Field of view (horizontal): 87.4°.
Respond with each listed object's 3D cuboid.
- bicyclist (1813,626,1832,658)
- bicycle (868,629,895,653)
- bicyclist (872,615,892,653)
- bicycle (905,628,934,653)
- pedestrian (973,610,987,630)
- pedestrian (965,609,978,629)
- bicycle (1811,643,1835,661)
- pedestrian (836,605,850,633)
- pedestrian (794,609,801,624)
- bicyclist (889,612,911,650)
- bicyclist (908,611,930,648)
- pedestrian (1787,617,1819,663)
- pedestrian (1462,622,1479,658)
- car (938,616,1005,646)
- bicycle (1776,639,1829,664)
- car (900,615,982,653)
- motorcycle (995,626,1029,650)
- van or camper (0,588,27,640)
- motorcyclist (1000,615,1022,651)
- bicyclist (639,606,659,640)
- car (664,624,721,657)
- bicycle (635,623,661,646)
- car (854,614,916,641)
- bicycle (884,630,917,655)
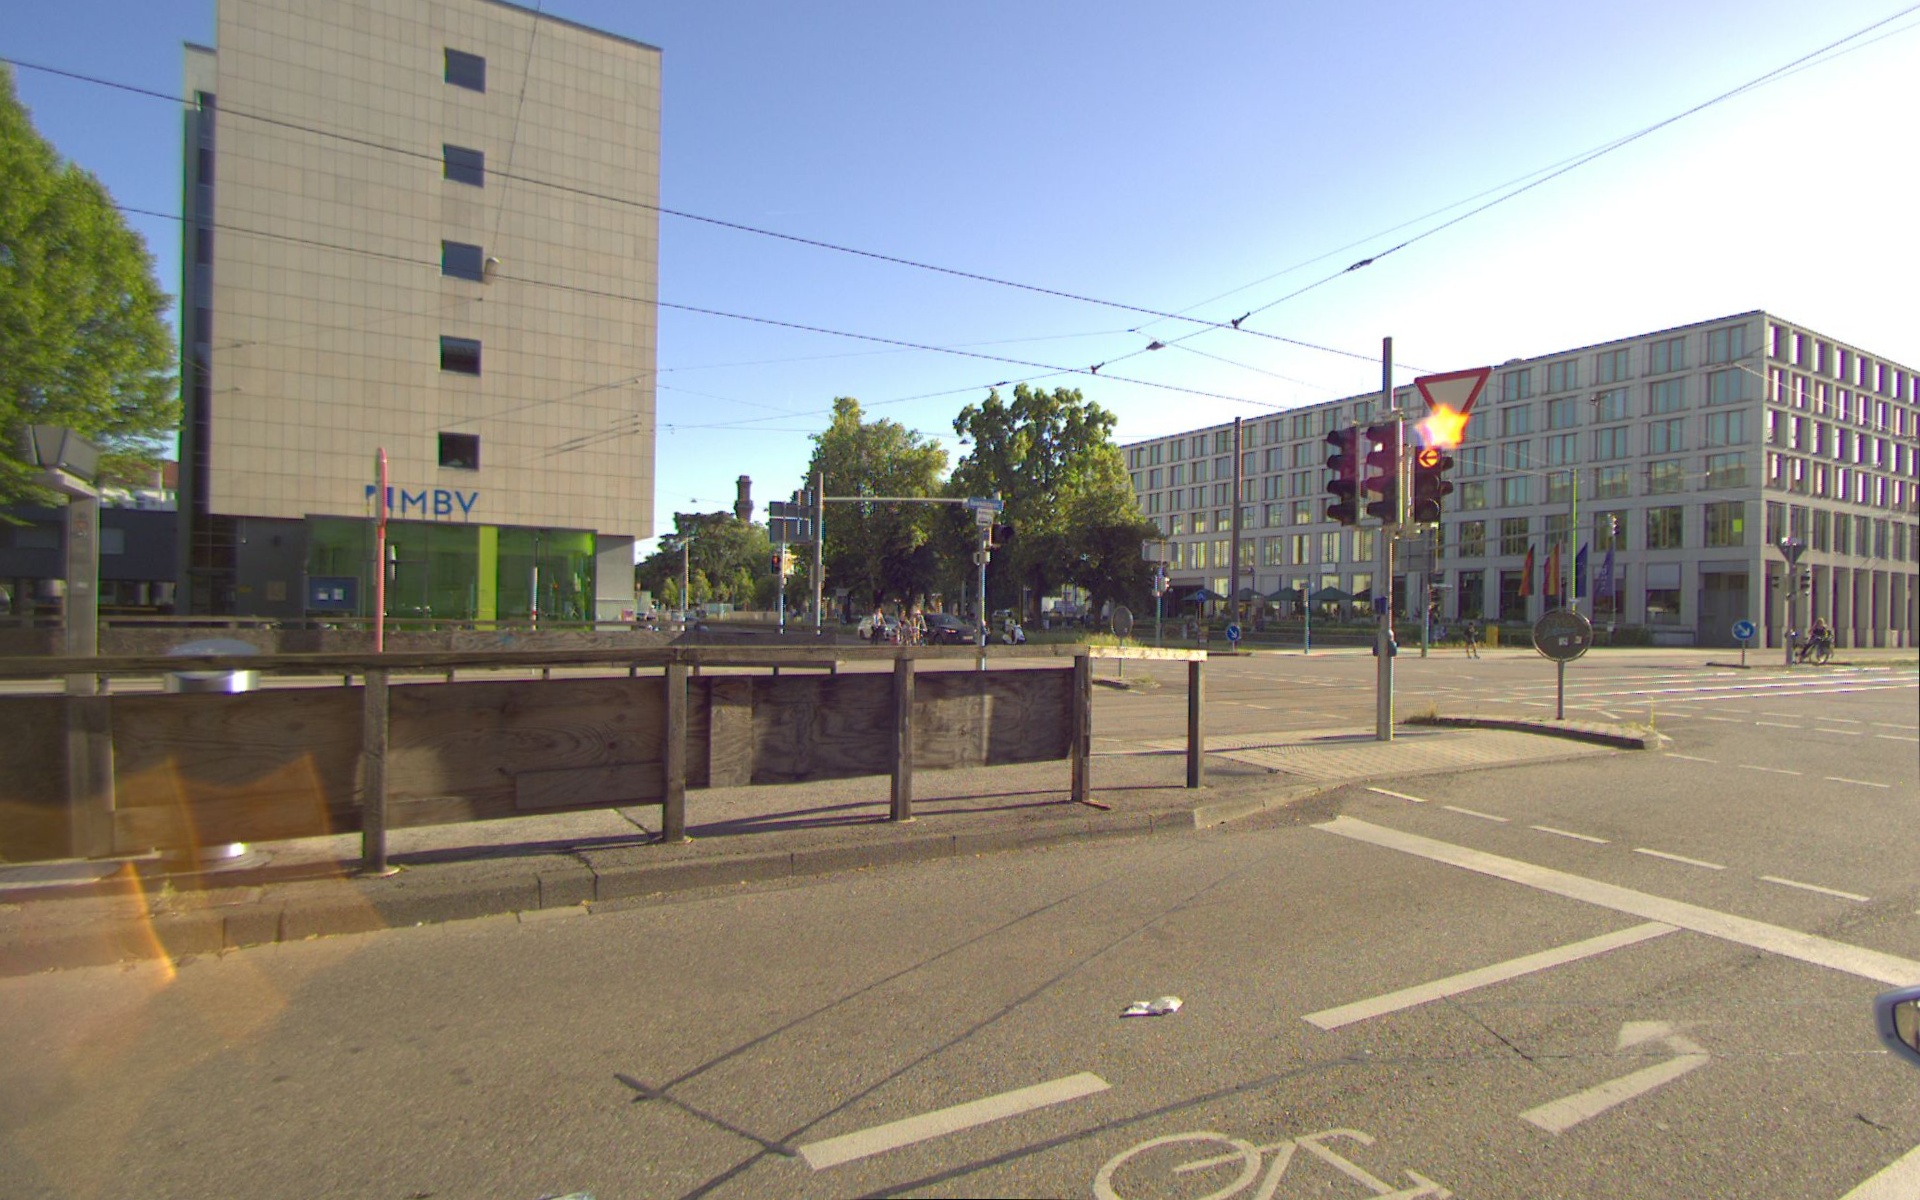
[{"bbox_3d":[41.069,2.002,47.833,0.658,1.518,0.492,1,-1,-28],"label":"bicyclist"},{"bbox_3d":[-3.520,1.818,44.980,0.576,1.032,1.666,1,-1,-27],"label":"bicycle"},{"bbox_3d":[-3.496,1.506,44.950,0.576,1.658,0.890,1,-1,-27],"label":"bicyclist"},{"bbox_3d":[-1.717,1.685,42.109,0.576,1.032,1.666,1,-1,-27],"label":"bicycle"},{"bbox_3d":[1.717,1.710,86.612,0.858,1.738,0.737,2,0,-26],"label":"pedestrian"},{"bbox_3d":[0.988,1.691,88.109,0.858,1.738,0.737,2,0,-26],"label":"pedestrian"},{"bbox_3d":[41.077,2.459,47.827,1.142,0.850,0.492,1,-1,-28],"label":"bicycle"},{"bbox_3d":[-8.607,1.421,73.863,0.772,2.040,0.747,1,-1,-31],"label":"pedestrian"},{"bbox_3d":[-20.064,2.020,124.133,0.758,1.829,0.624,2,0,-5],"label":"pedestrian"},{"bbox_3d":[-2.482,1.291,41.743,0.577,1.563,0.833,1,-2,-32],"label":"bicyclist"},{"bbox_3d":[-1.722,1.231,42.144,0.576,1.563,0.890,1,-1,-27],"label":"bicyclist"},{"bbox_3d":[30.409,1.443,36.231,0.562,1.616,0.745,1,-1,3],"label":"pedestrian"},{"bbox_3d":[24.532,1.898,48.306,0.594,1.703,0.606,1,-1,13],"label":"pedestrian"},{"bbox_3d":[0.568,1.581,51.934,1.674,1.506,3.719,1,-1,-33],"label":"car"},{"bbox_3d":[30.410,1.839,36.295,0.562,0.834,1.719,1,-1,3],"label":"bicycle"},{"bbox_3d":[-0.883,1.492,44.270,1.925,1.561,3.969,2,-2,-29],"label":"car"},{"bbox_3d":[2.396,1.766,46.683,0.624,1.030,1.972,-3,1,-28],"label":"motorcycle"},{"bbox_3d":[-28.333,0.273,27.289,3.954,1.425,1.954,4,-3,-30],"label":"van or camper"},{"bbox_3d":[2.356,1.521,46.713,0.624,1.601,0.812,-3,1,-28],"label":"motorcyclist"},{"bbox_3d":[-14.777,1.087,47.717,0.802,1.623,0.677,1,-1,-29],"label":"bicyclist"},{"bbox_3d":[-14.098,2.111,52.744,1.975,1.472,4.179,2,0,-28],"label":"car"},{"bbox_3d":[-14.838,1.639,47.727,0.802,1.047,2.111,1,-1,-28],"label":"bicycle"},{"bbox_3d":[-4.462,1.623,59.514,1.980,1.537,3.962,1,-1,-34],"label":"car"},{"bbox_3d":[-2.489,1.769,41.747,0.577,1.032,1.806,1,-2,-31],"label":"bicycle"}]
